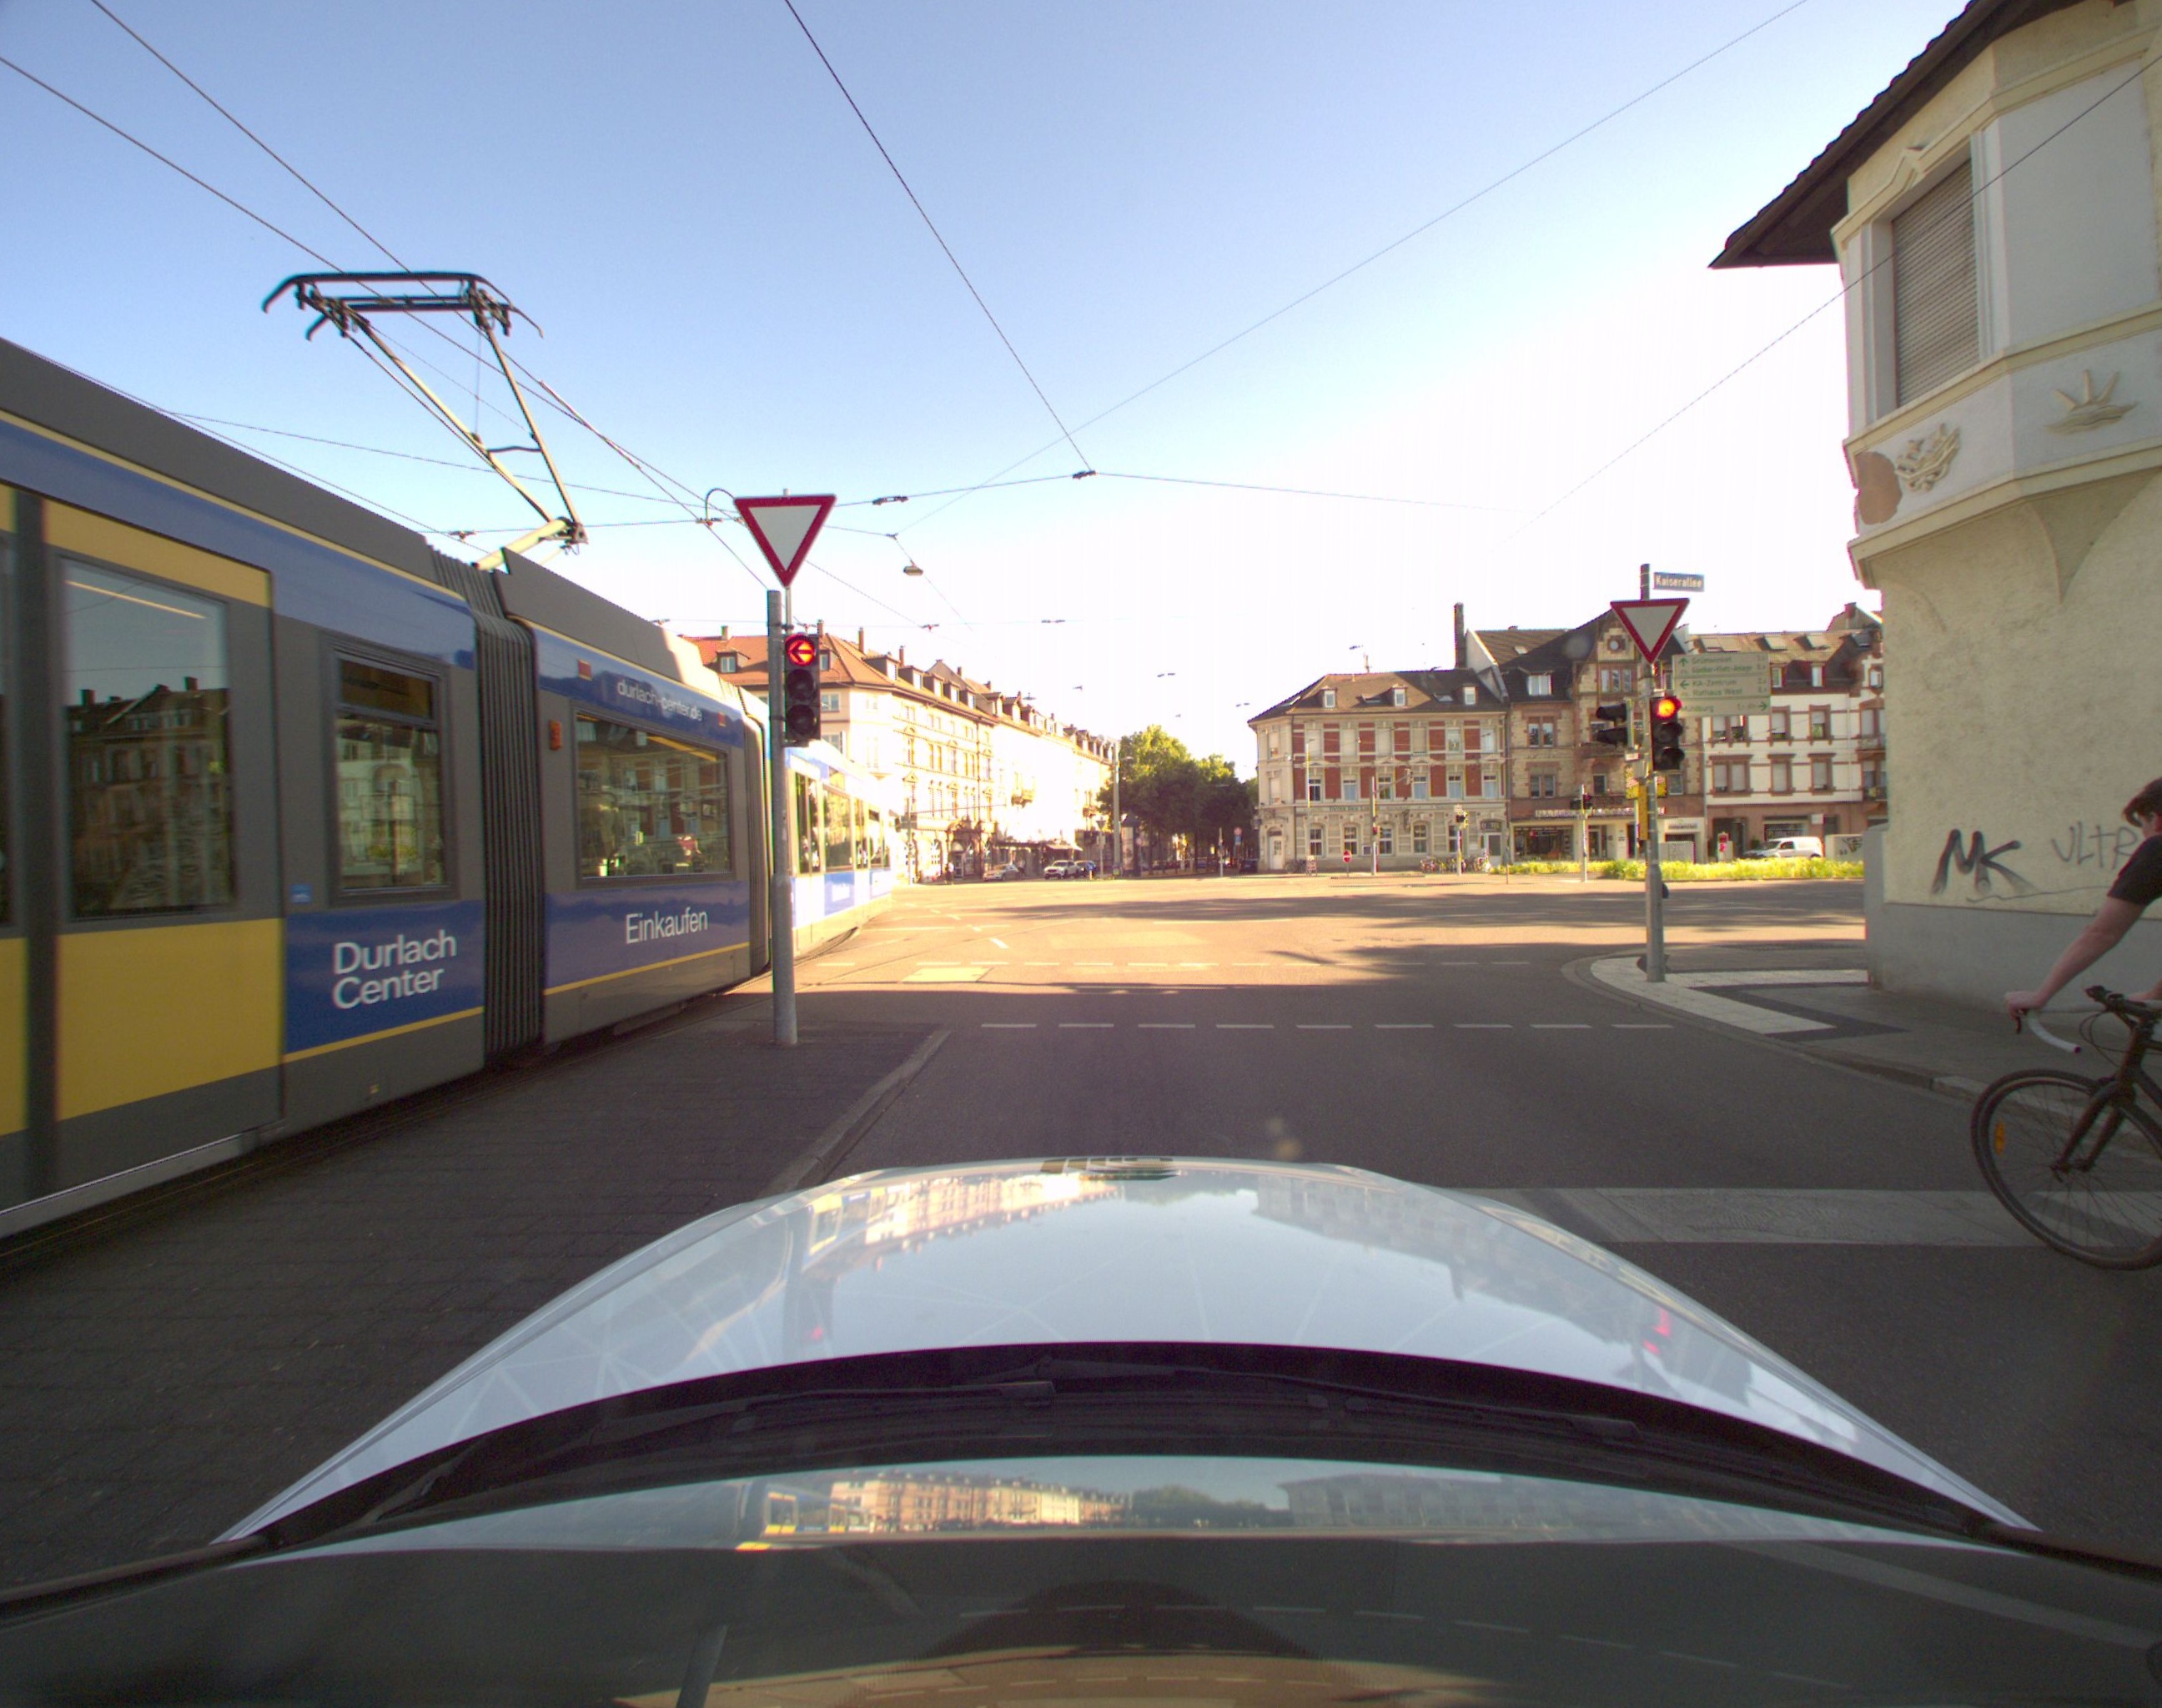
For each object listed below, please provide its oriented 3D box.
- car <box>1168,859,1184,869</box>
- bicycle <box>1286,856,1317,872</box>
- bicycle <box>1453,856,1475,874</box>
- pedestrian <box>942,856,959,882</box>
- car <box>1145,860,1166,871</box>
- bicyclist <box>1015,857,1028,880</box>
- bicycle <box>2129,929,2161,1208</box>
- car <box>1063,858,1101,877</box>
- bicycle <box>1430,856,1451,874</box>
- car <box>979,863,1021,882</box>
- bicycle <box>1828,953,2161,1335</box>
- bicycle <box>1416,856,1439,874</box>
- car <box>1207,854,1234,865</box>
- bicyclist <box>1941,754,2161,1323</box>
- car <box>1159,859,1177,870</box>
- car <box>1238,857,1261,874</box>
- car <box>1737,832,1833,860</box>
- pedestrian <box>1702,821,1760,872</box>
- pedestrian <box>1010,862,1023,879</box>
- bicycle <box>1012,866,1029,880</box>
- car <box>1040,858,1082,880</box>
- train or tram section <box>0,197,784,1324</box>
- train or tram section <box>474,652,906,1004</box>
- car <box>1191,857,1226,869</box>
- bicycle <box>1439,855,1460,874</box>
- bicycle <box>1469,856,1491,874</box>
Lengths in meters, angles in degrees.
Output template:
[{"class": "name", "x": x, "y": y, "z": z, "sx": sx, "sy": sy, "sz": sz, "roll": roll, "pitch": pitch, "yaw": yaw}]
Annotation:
[{"class": "car", "x": 15.845, "y": 1.715, "z": 136.162, "sx": 1.750, "sy": 1.549, "sz": 4.411, "roll": -2, "pitch": 0, "yaw": 18}, {"class": "bicycle", "x": 15.506, "y": 0.723, "z": 57.185, "sx": 2.081, "sy": 1.124, "sz": 0.366, "roll": 0, "pitch": -1, "yaw": -3}, {"class": "bicycle", "x": 24.784, "y": 0.710, "z": 52.684, "sx": 0.615, "sy": 1.143, "sz": 2.178, "roll": -2, "pitch": 0, "yaw": 7}, {"class": "pedestrian", "x": -9.002, "y": 1.037, "z": 56.209, "sx": 1.047, "sy": 1.744, "sz": 0.805, "roll": -1, "pitch": 0, "yaw": -14}, {"class": "car", "x": 11.268, "y": 1.727, "z": 122.596, "sx": 1.977, "sy": 1.612, "sz": 4.413, "roll": -2, "pitch": 0, "yaw": 20}, {"class": "bicyclist", "x": -4.805, "y": 1.131, "z": 65.335, "sx": 0.674, "sy": 1.820, "sz": 1.075, "roll": -2, "pitch": 0, "yaw": 14}, {"class": "bicycle", "x": 4.536, "y": 0.862, "z": 2.441, "sx": 0.516, "sy": 1.116, "sz": 1.815, "roll": -2, "pitch": 0, "yaw": 4}, {"class": "car", "x": 0.125, "y": 1.217, "z": 74.012, "sx": 1.977, "sy": 1.612, "sz": 4.413, "roll": -2, "pitch": 0, "yaw": 20}, {"class": "bicycle", "x": 23.284, "y": 0.691, "z": 52.832, "sx": 0.615, "sy": 1.143, "sz": 2.178, "roll": -2, "pitch": 0, "yaw": 7}, {"class": "car", "x": -6.675, "y": 1.522, "z": 67.378, "sx": 1.883, "sy": 1.455, "sz": 4.020, "roll": -2, "pitch": 0, "yaw": 20}, {"class": "bicycle", "x": 3.616, "y": 0.952, "z": 2.666, "sx": 0.642, "sy": 1.010, "sz": 1.930, "roll": -2, "pitch": 0, "yaw": 4}, {"class": "bicycle", "x": 22.506, "y": 0.701, "z": 52.981, "sx": 0.802, "sy": 1.143, "sz": 2.178, "roll": -2, "pitch": 0, "yaw": 7}, {"class": "car", "x": 22.845, "y": 0.965, "z": 133.297, "sx": 3.948, "sy": 1.706, "sz": 2.013, "roll": -2, "pitch": 0, "yaw": 32}, {"class": "bicyclist", "x": 3.601, "y": 0.565, "z": 2.589, "sx": 0.559, "sy": 1.754, "sz": 1.102, "roll": -2, "pitch": 0, "yaw": 4}, {"class": "car", "x": 13.927, "y": 1.696, "z": 130.328, "sx": 1.822, "sy": 1.552, "sz": 4.412, "roll": -2, "pitch": 0, "yaw": 19}, {"class": "car", "x": 17.024, "y": 1.139, "z": 82.211, "sx": 1.978, "sy": 1.585, "sz": 4.017, "roll": -2, "pitch": 0, "yaw": 16}, {"class": "car", "x": 45.364, "y": -0.481, "z": 52.547, "sx": 4.317, "sy": 1.640, "sz": 2.152, "roll": -2, "pitch": 0, "yaw": 1}, {"class": "pedestrian", "x": 27.117, "y": -0.306, "z": 33.994, "sx": 1.314, "sy": 2.044, "sz": 1.307, "roll": -2, "pitch": 0, "yaw": 1}, {"class": "pedestrian", "x": -6.228, "y": 1.594, "z": 78.879, "sx": 0.921, "sy": 1.535, "sz": 1.142, "roll": -1, "pitch": 0, "yaw": 16}, {"class": "bicycle", "x": -4.809, "y": 1.512, "z": 65.292, "sx": 0.675, "sy": 1.066, "sz": 2.133, "roll": -2, "pitch": 0, "yaw": 14}, {"class": "car", "x": -1.600, "y": 1.251, "z": 67.535, "sx": 1.977, "sy": 1.684, "sz": 4.413, "roll": -2, "pitch": 0, "yaw": 20}, {"class": "train or tram section", "x": -4.689, "y": -0.282, "z": 4.311, "sx": 2.804, "sy": 3.499, "sz": 8.465, "roll": -1, "pitch": 0, "yaw": 2}, {"class": "train or tram section", "x": -5.202, "y": -0.288, "z": 14.219, "sx": 2.766, "sy": 3.499, "sz": 12.005, "roll": -1, "pitch": 0, "yaw": -6}, {"class": "car", "x": 18.013, "y": 1.306, "z": 115.196, "sx": 4.335, "sy": 1.612, "sz": 2.012, "roll": -2, "pitch": 0, "yaw": 28}, {"class": "bicycle", "x": 23.864, "y": 0.672, "z": 52.779, "sx": 0.615, "sy": 1.143, "sz": 2.178, "roll": -2, "pitch": 0, "yaw": 7}, {"class": "bicycle", "x": 25.762, "y": 0.689, "z": 52.594, "sx": 0.606, "sy": 1.136, "sz": 2.139, "roll": -2, "pitch": 0, "yaw": 7}]
